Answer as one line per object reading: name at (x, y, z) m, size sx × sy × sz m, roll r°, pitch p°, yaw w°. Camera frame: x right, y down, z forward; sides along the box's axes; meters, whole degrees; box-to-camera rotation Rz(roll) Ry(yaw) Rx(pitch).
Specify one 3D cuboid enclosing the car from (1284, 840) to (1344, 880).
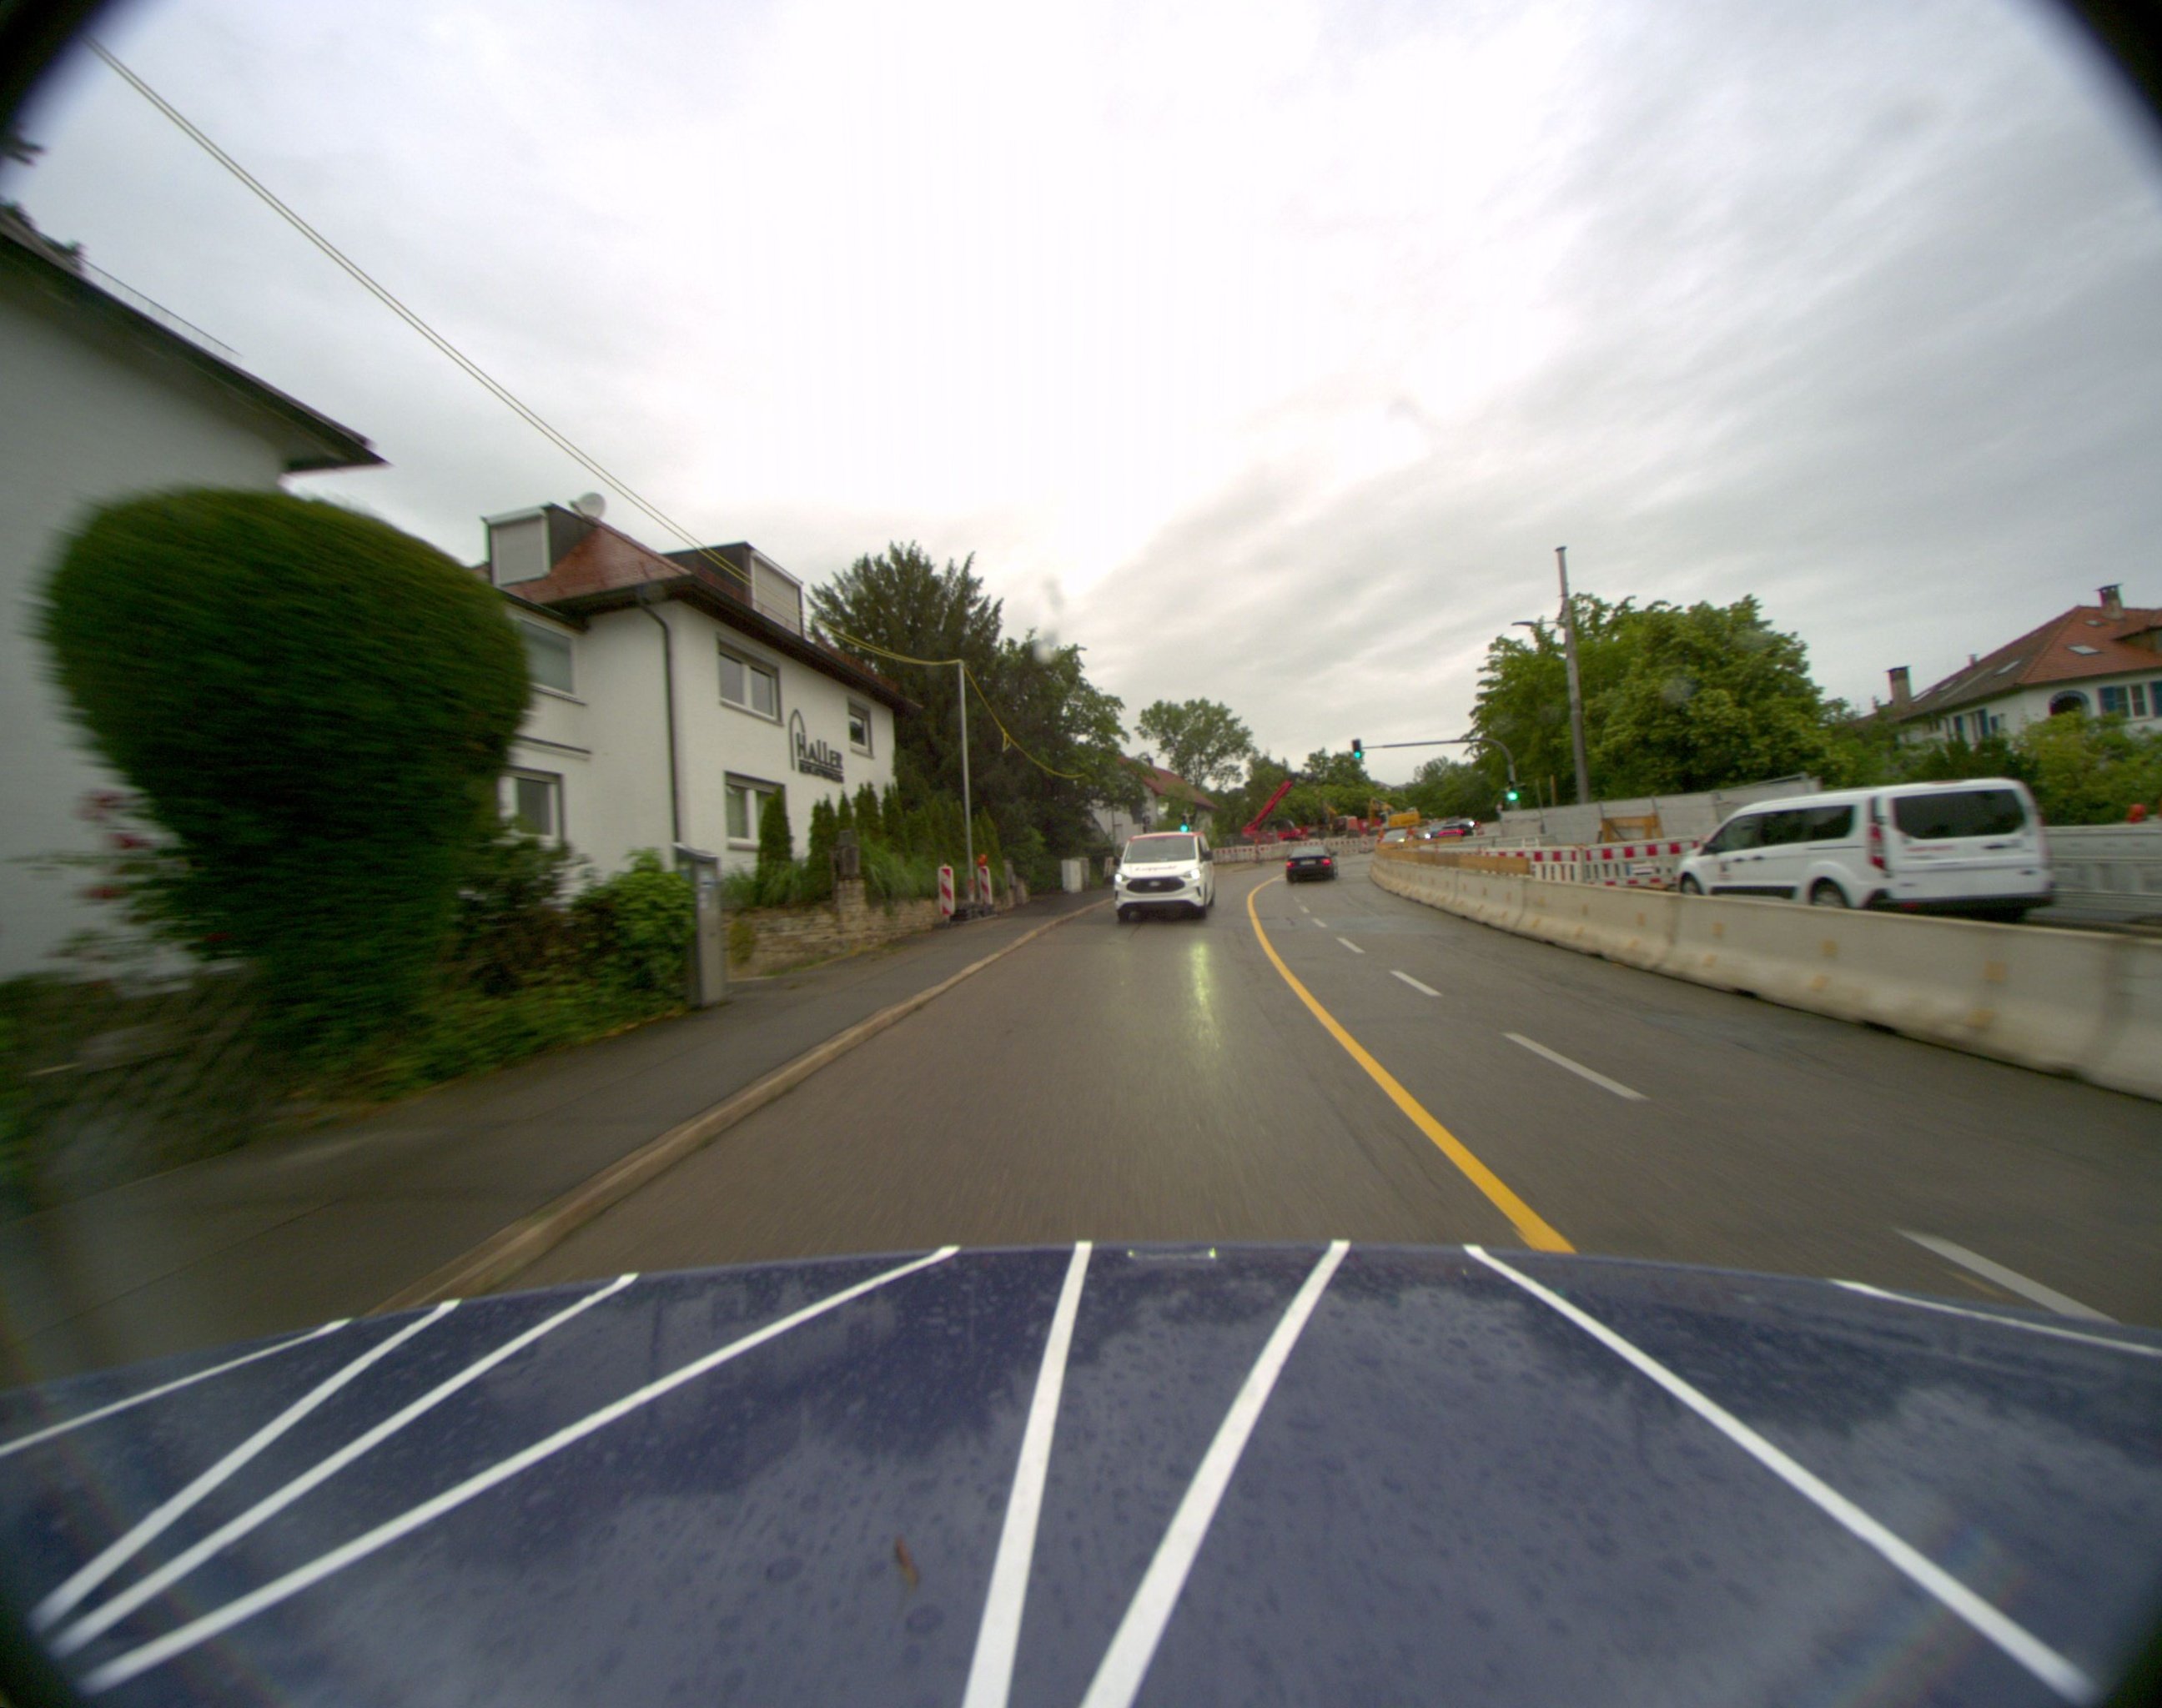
car at (8.931, 0.180, 28.942) m, size 1.649 × 1.304 × 4.269 m, roll -1°, pitch 2°, yaw 24°

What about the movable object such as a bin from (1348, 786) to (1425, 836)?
movable object such as a bin at (34.106, -4.702, 85.397) m, size 3.066 × 4.892 × 10.811 m, roll -8°, pitch 3°, yaw -4°

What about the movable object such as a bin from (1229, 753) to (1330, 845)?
movable object such as a bin at (16.518, -4.507, 63.342) m, size 6.957 × 6.651 × 3.049 m, roll -6°, pitch 1°, yaw 28°

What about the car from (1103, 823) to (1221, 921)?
car at (2.119, 0.326, 18.283) m, size 1.996 × 2.002 × 4.953 m, roll -2°, pitch 1°, yaw 15°

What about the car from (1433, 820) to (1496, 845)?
car at (27.185, -1.548, 53.839) m, size 4.370 × 1.395 × 1.786 m, roll -5°, pitch 0°, yaw -29°

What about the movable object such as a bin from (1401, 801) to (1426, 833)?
movable object such as a bin at (38.152, -4.295, 87.141) m, size 1.996 × 3.287 × 3.839 m, roll -6°, pitch 3°, yaw 28°

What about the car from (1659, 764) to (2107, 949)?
car at (10.573, 0.169, 10.752) m, size 1.996 × 2.000 × 4.815 m, roll 1°, pitch -4°, yaw 13°

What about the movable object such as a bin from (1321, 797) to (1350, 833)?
movable object such as a bin at (29.376, -4.524, 87.579) m, size 1.996 × 3.866 × 4.624 m, roll -6°, pitch 0°, yaw 30°

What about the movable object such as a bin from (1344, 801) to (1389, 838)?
movable object such as a bin at (29.907, -3.575, 79.630) m, size 3.992 × 3.182 × 2.412 m, roll -7°, pitch -5°, yaw 22°
